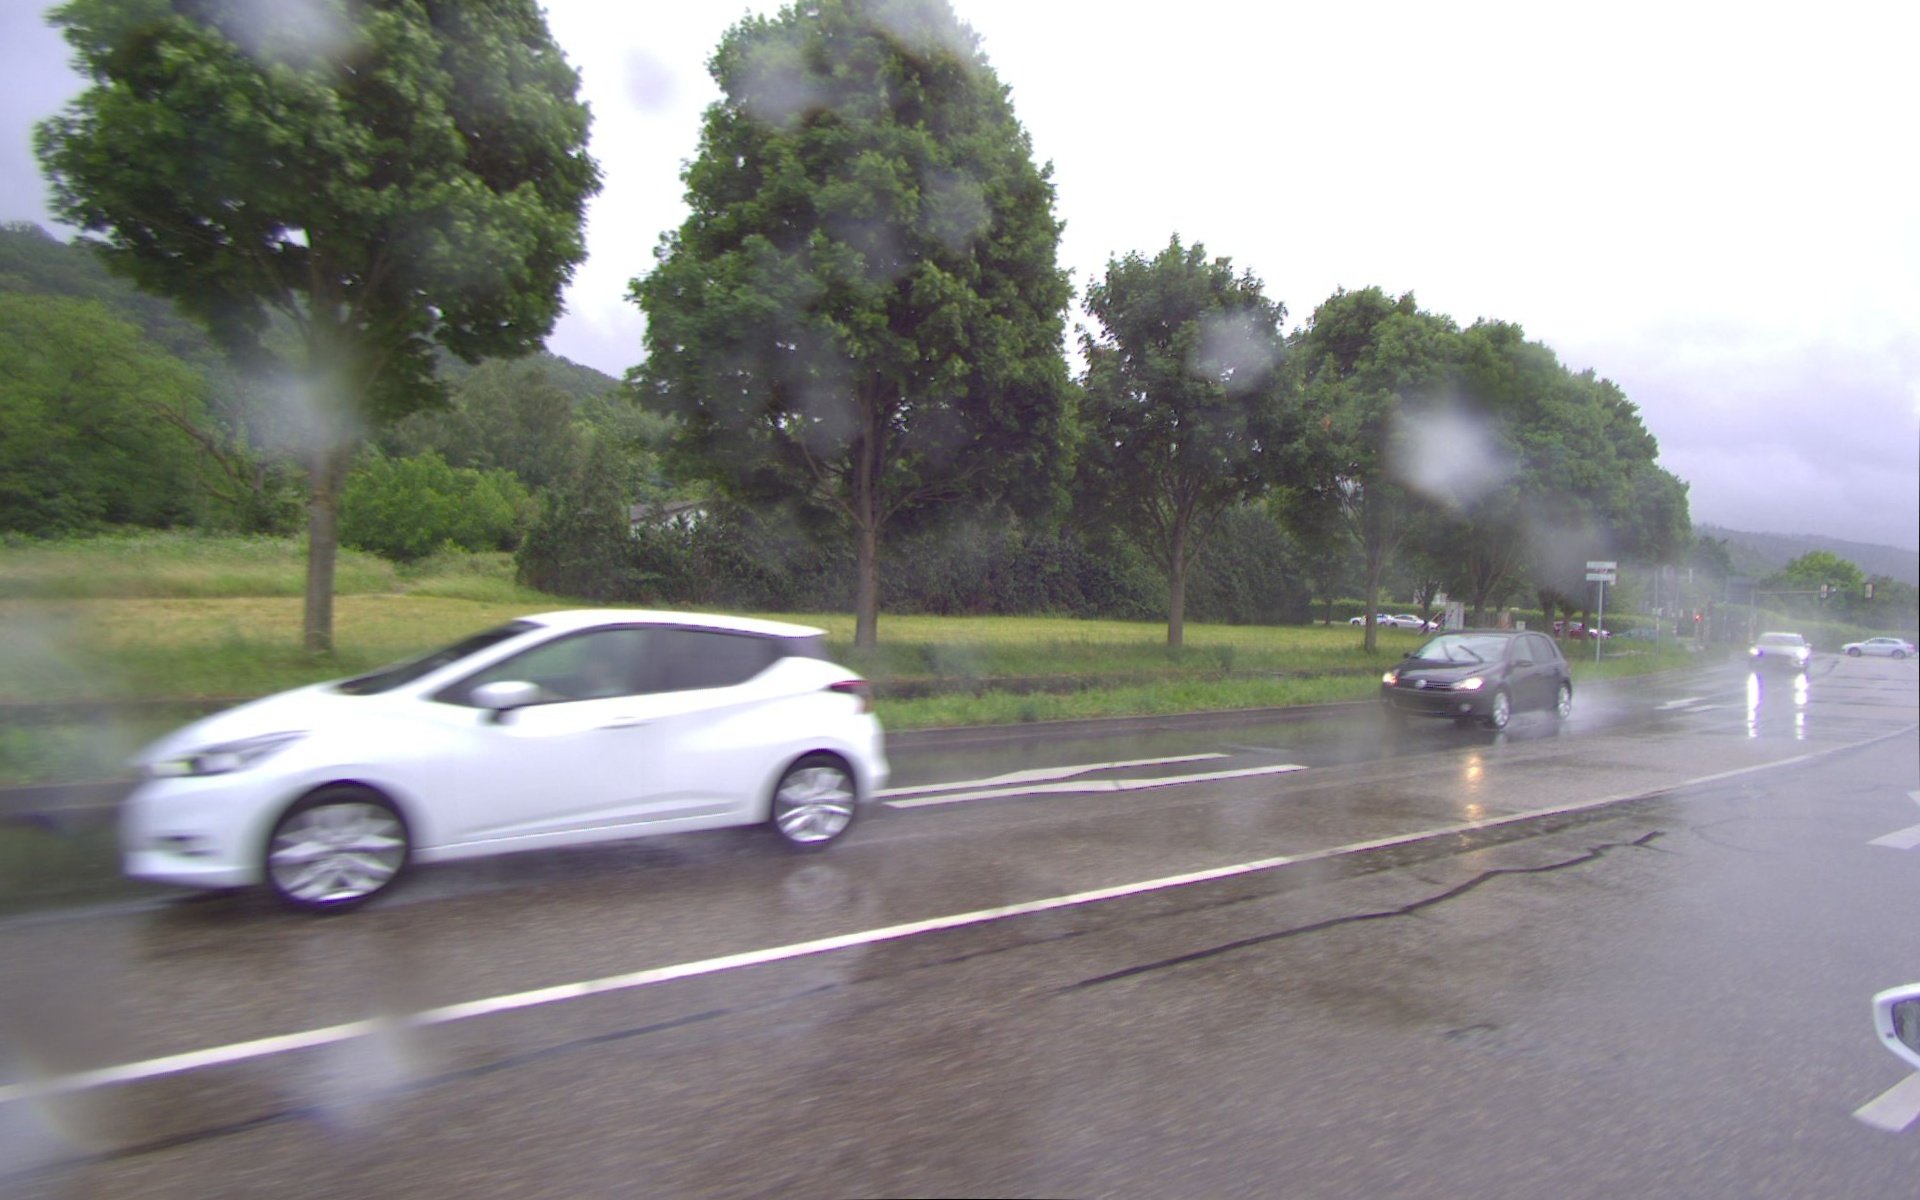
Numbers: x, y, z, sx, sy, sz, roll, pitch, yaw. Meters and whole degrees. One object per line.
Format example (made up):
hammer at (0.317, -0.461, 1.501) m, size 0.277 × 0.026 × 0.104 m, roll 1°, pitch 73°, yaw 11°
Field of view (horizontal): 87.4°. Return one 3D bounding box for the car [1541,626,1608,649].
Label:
car at (50.664, 3.093, 82.873) m, size 1.718 × 1.600 × 4.338 m, roll 2°, pitch 1°, yaw -40°

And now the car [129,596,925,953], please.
car at (-2.351, 0.807, 6.107) m, size 3.971 × 1.507 × 1.728 m, roll 2°, pitch -1°, yaw -35°

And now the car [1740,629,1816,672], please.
car at (32.980, 2.013, 40.447) m, size 4.614 × 1.594 × 1.860 m, roll 3°, pitch -2°, yaw -44°

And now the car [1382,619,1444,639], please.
car at (41.855, 2.669, 92.920) m, size 1.787 × 1.574 × 4.835 m, roll 2°, pitch 0°, yaw -43°

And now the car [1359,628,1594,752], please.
car at (8.398, 1.360, 16.197) m, size 4.085 × 1.608 × 1.868 m, roll 3°, pitch 2°, yaw -40°

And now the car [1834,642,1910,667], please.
car at (73.058, 4.332, 80.468) m, size 1.720 × 1.600 × 4.333 m, roll 2°, pitch 1°, yaw -43°
